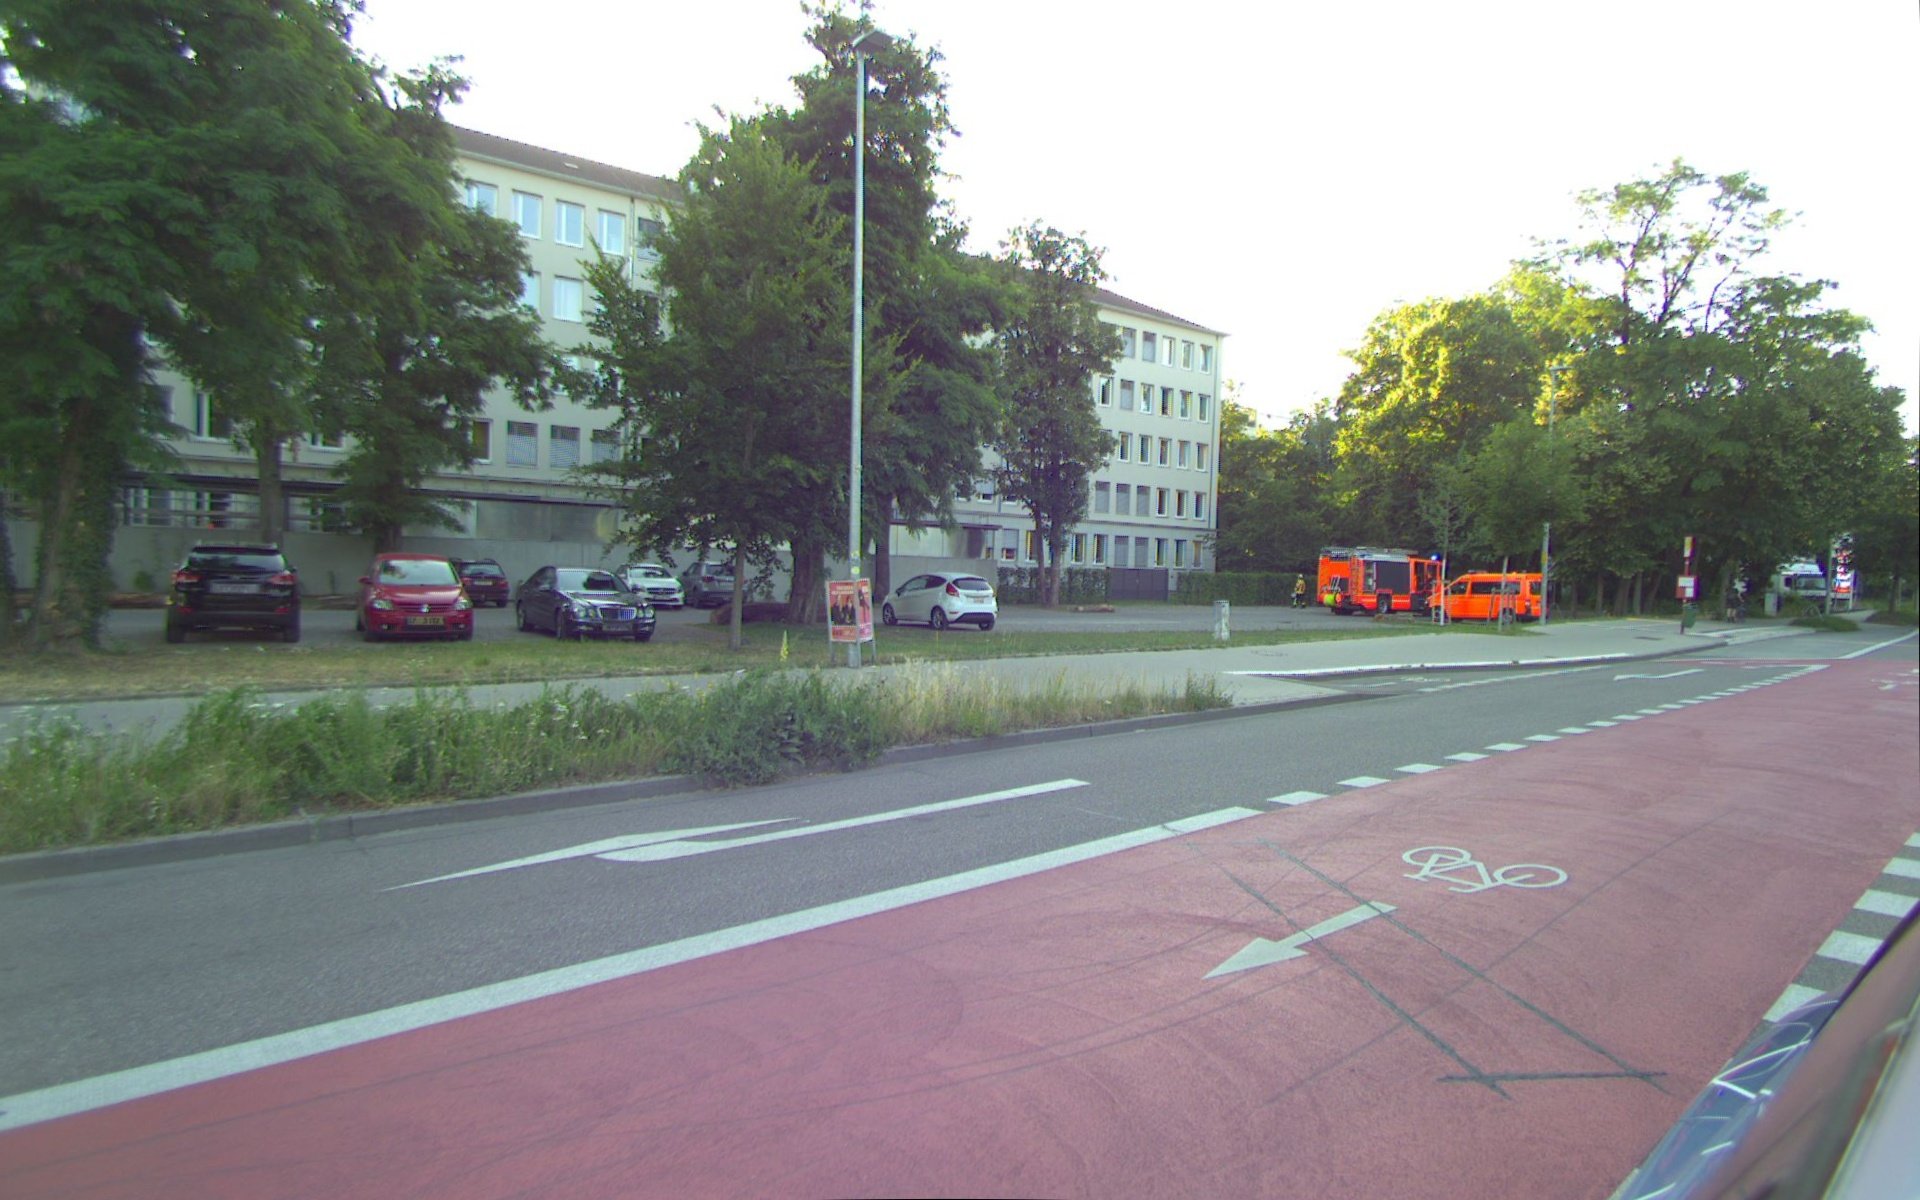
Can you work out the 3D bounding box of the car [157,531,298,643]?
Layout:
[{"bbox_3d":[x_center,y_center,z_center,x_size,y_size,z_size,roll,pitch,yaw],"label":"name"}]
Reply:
[{"bbox_3d":[-12.712,-0.257,17.617,1.802,1.715,3.910,0,1,-36],"label":"car"}]

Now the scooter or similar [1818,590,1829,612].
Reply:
[{"bbox_3d":[54.521,0.054,63.899,0.482,1.297,1.123,5,3,41],"label":"scooter or similar"}]

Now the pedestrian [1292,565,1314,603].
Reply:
[{"bbox_3d":[18.739,-0.880,55.299,0.810,2.038,0.774,1,2,-32],"label":"pedestrian"}]

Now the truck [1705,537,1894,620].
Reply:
[{"bbox_3d":[64.104,-1.766,78.174,5.085,5.642,15.020,2,2,14],"label":"truck"}]

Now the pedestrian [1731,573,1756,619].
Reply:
[{"bbox_3d":[35.659,-0.180,46.039,0.683,2.038,0.724,0,2,-42],"label":"pedestrian"}]

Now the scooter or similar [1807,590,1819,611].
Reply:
[{"bbox_3d":[53.118,0.036,63.028,0.482,1.297,1.213,5,3,41],"label":"scooter or similar"}]

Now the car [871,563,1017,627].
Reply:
[{"bbox_3d":[-0.507,-0.179,26.730,1.876,1.556,3.999,0,1,-37],"label":"car"}]

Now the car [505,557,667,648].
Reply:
[{"bbox_3d":[-7.758,-0.054,20.733,1.866,1.465,4.584,-2,5,-37],"label":"car"}]

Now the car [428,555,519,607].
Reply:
[{"bbox_3d":[-14.771,-0.592,30.598,1.866,1.460,4.001,0,1,-35],"label":"car"}]

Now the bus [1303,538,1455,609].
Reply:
[{"bbox_3d":[20.492,-1.259,49.331,7.810,3.236,2.999,0,1,-34],"label":"bus"}]

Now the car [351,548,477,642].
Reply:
[{"bbox_3d":[-10.467,-0.168,19.274,1.751,1.580,4.003,0,2,-34],"label":"car"}]

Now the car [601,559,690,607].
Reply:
[{"bbox_3d":[-10.450,-0.581,33.452,1.798,1.494,4.002,0,1,-33],"label":"car"}]

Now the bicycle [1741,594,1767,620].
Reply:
[{"bbox_3d":[35.635,0.303,45.400,0.829,1.111,1.941,3,2,40],"label":"bicycle"}]

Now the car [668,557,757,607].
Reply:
[{"bbox_3d":[-8.659,-0.643,35.148,1.875,1.637,4.004,-1,2,-31],"label":"car"}]

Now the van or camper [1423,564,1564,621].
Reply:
[{"bbox_3d":[22.648,-0.370,43.157,2.251,2.272,4.830,0,1,-35],"label":"van or camper"}]
